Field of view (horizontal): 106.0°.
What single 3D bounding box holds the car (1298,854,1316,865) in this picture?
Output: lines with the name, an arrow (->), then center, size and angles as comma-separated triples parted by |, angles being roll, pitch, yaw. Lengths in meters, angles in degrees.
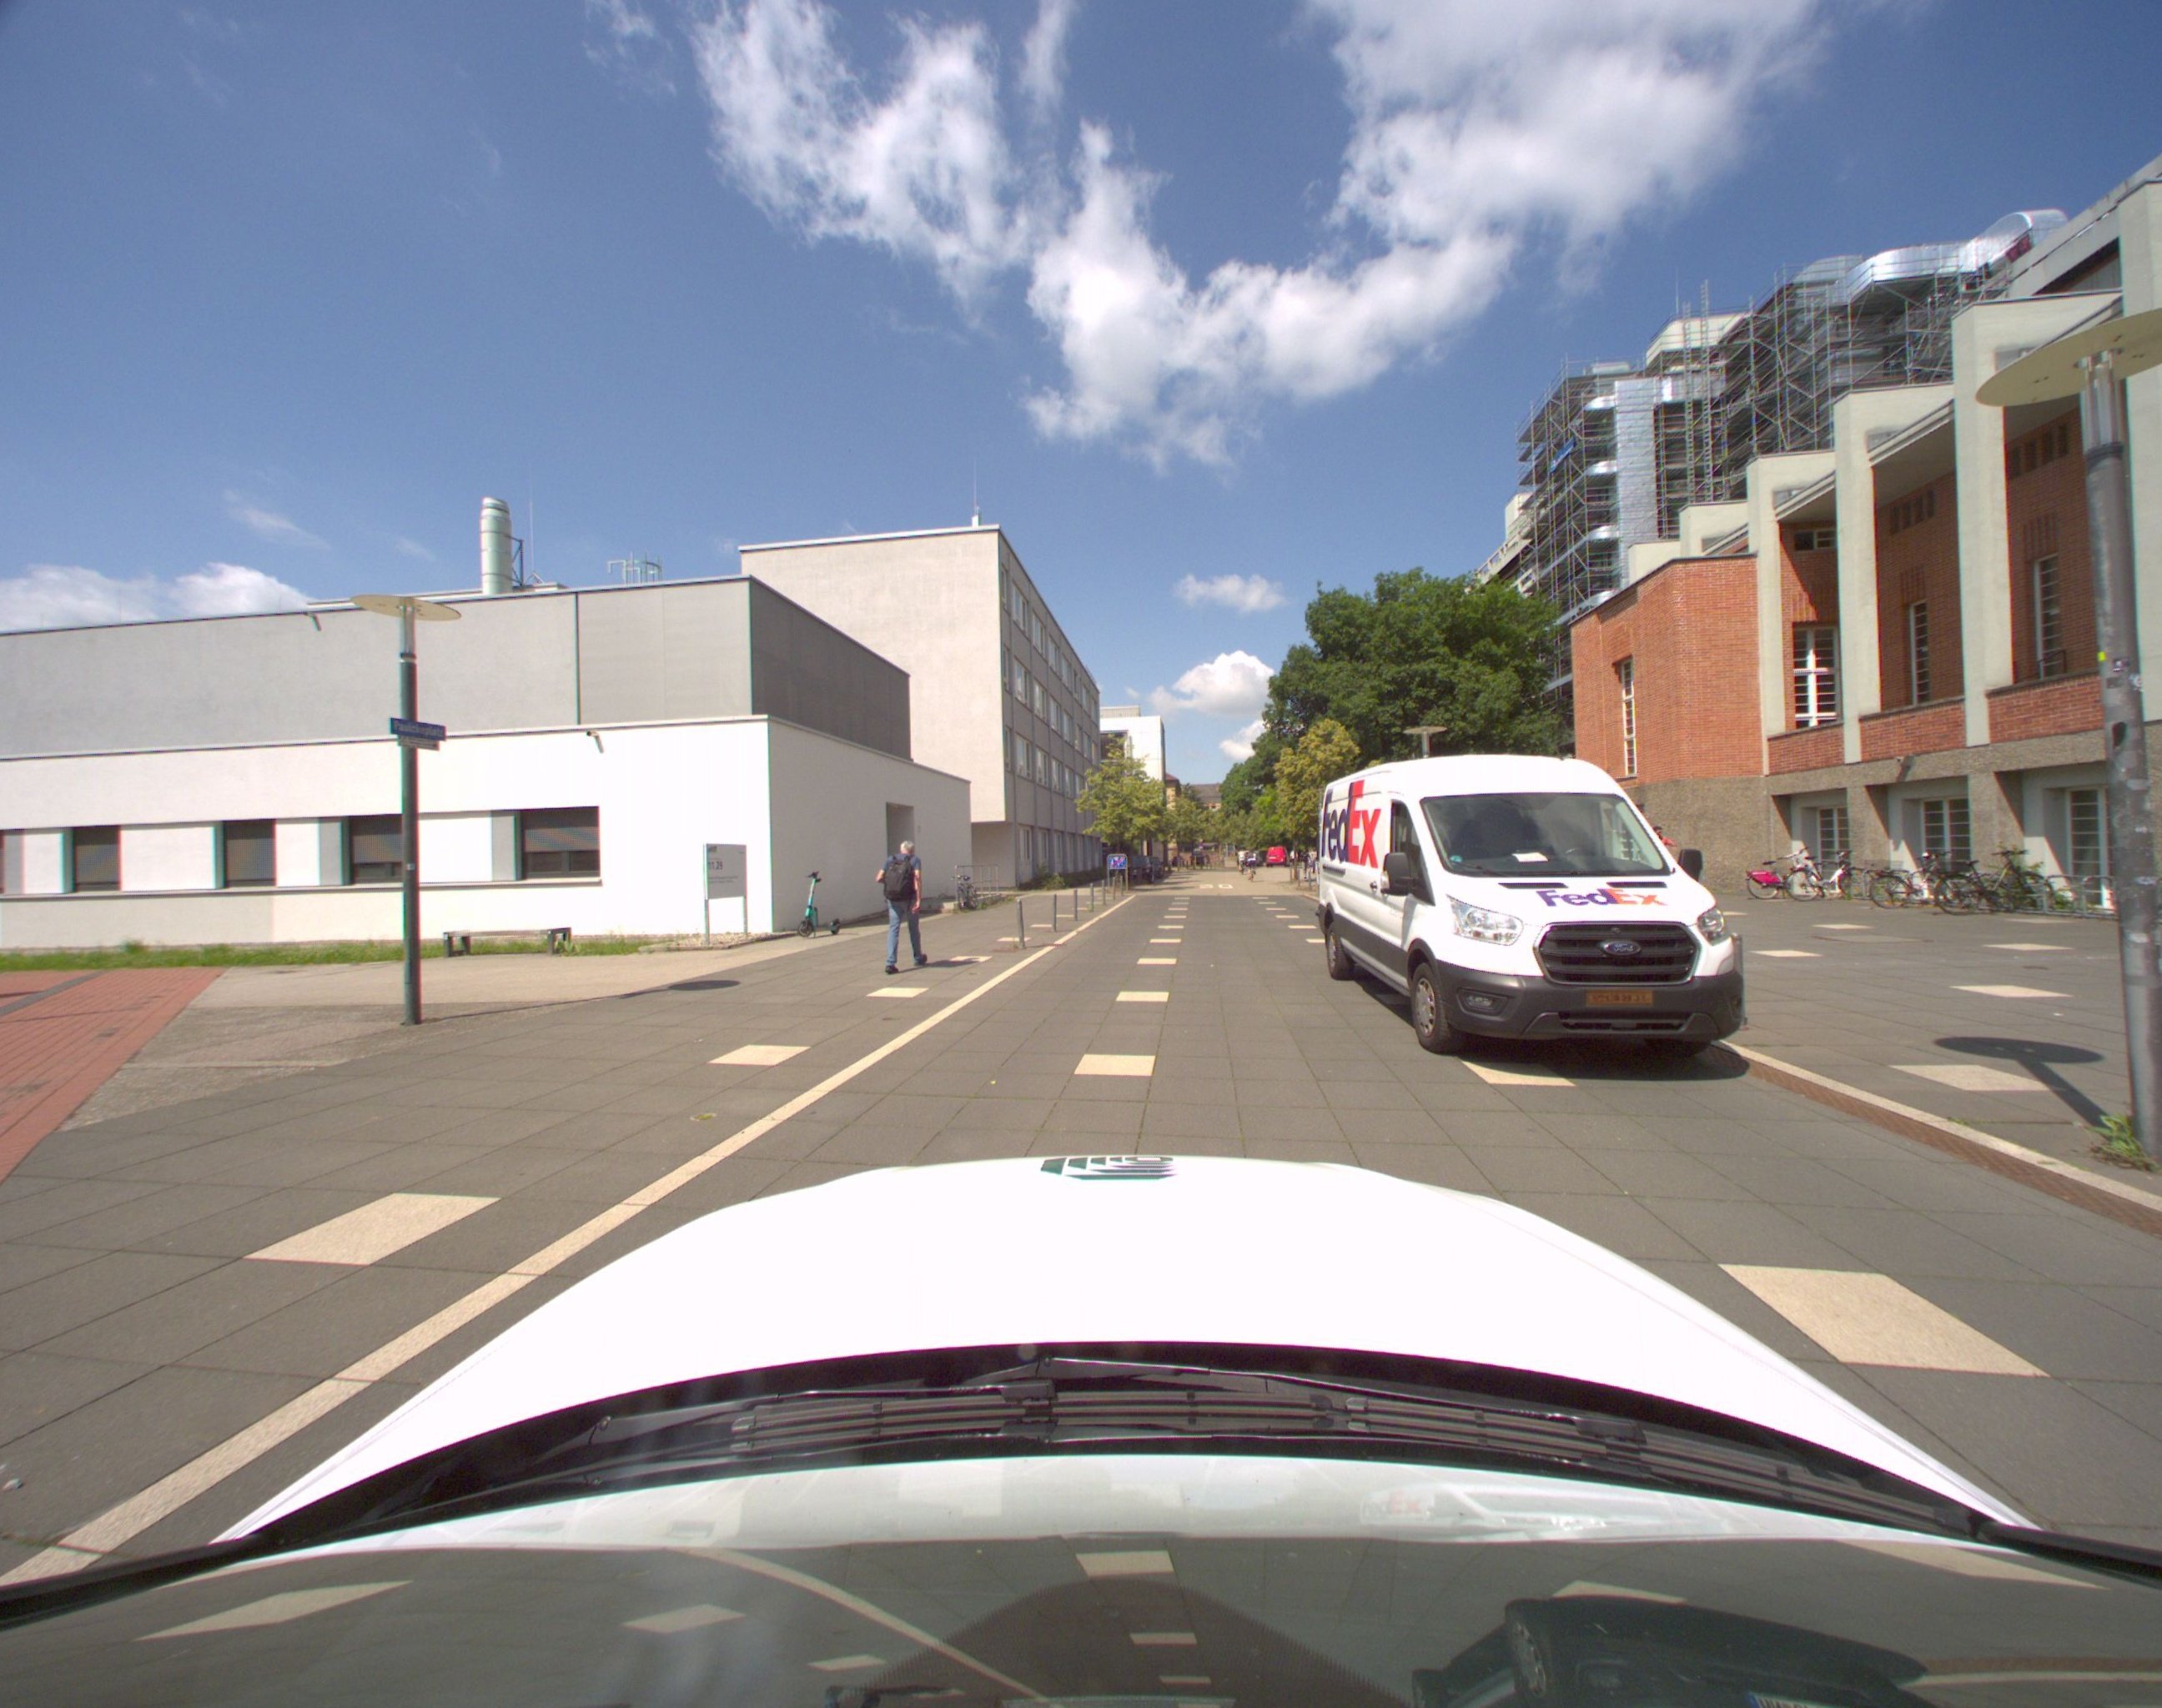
car -> 34.488, 0.826, 124.185 | 1.743, 1.522, 4.137 | -2, -1, 29

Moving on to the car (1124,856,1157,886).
car -> 3.485, 0.946, 47.013 | 1.688, 1.564, 4.075 | -2, 0, 6

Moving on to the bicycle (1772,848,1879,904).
bicycle -> 16.451, 0.482, 18.018 | 1.744, 1.149, 0.519 | -2, -1, 6

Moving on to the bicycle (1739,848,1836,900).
bicycle -> 16.490, 0.473, 19.017 | 1.744, 1.149, 0.436 | -2, -1, 6

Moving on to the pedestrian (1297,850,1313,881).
pedestrian -> 12.730, 0.658, 46.270 | 0.639, 1.697, 0.793 | -2, -1, 3

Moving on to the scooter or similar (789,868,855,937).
scooter or similar -> -5.025, 0.920, 15.877 | 0.478, 1.263, 1.320 | -2, -1, 20

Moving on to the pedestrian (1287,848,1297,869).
pedestrian -> 18.684, 0.412, 72.084 | 0.690, 1.781, 0.789 | -2, -1, 10

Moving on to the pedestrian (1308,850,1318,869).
pedestrian -> 23.040, 0.554, 80.822 | 0.725, 1.822, 0.624 | -1, -1, -28

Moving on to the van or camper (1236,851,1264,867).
van or camper -> 21.022, 0.549, 100.947 | 1.935, 1.923, 5.453 | -1, 0, 28

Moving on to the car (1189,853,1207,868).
car -> 15.778, 0.848, 109.802 | 2.164, 1.926, 5.195 | -2, -1, 6

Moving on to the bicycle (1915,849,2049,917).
bicycle -> 15.683, 0.505, 14.202 | 1.674, 1.110, 0.436 | -2, -1, 6

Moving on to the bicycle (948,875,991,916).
bicycle -> -3.123, 1.148, 22.977 | 0.539, 1.061, 1.906 | -2, 0, 13

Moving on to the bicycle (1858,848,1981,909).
bicycle -> 16.103, 0.464, 15.664 | 1.738, 1.110, 0.436 | -2, -1, 6

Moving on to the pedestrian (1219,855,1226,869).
pedestrian -> 17.395, 0.968, 100.092 | 0.578, 1.764, 0.917 | -2, -1, 28

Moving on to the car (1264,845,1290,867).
car -> 17.964, 0.193, 74.346 | 1.833, 1.891, 4.913 | -2, -1, 18

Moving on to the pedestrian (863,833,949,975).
pedestrian -> -2.354, 0.652, 11.100 | 0.820, 1.817, 1.145 | -2, -1, 3

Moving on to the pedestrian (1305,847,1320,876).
pedestrian -> 14.552, 0.450, 51.196 | 0.844, 1.764, 0.718 | -2, -1, 13

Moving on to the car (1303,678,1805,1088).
car -> 3.769, 0.209, 8.085 | 2.048, 2.543, 5.860 | -2, 0, 6

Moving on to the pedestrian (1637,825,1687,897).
pedestrian -> 15.070, 0.180, 21.139 | 0.659, 1.834, 0.908 | -2, -1, 8

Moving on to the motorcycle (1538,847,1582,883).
motorcycle -> 18.499, 0.424, 31.501 | 0.691, 1.323, 2.226 | -2, -1, 10

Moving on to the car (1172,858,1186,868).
car -> 13.262, 1.224, 110.317 | 1.807, 1.324, 3.775 | -2, -1, 7

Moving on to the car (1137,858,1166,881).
car -> 4.786, 1.011, 54.947 | 1.769, 1.461, 4.267 | -1, 0, 6
